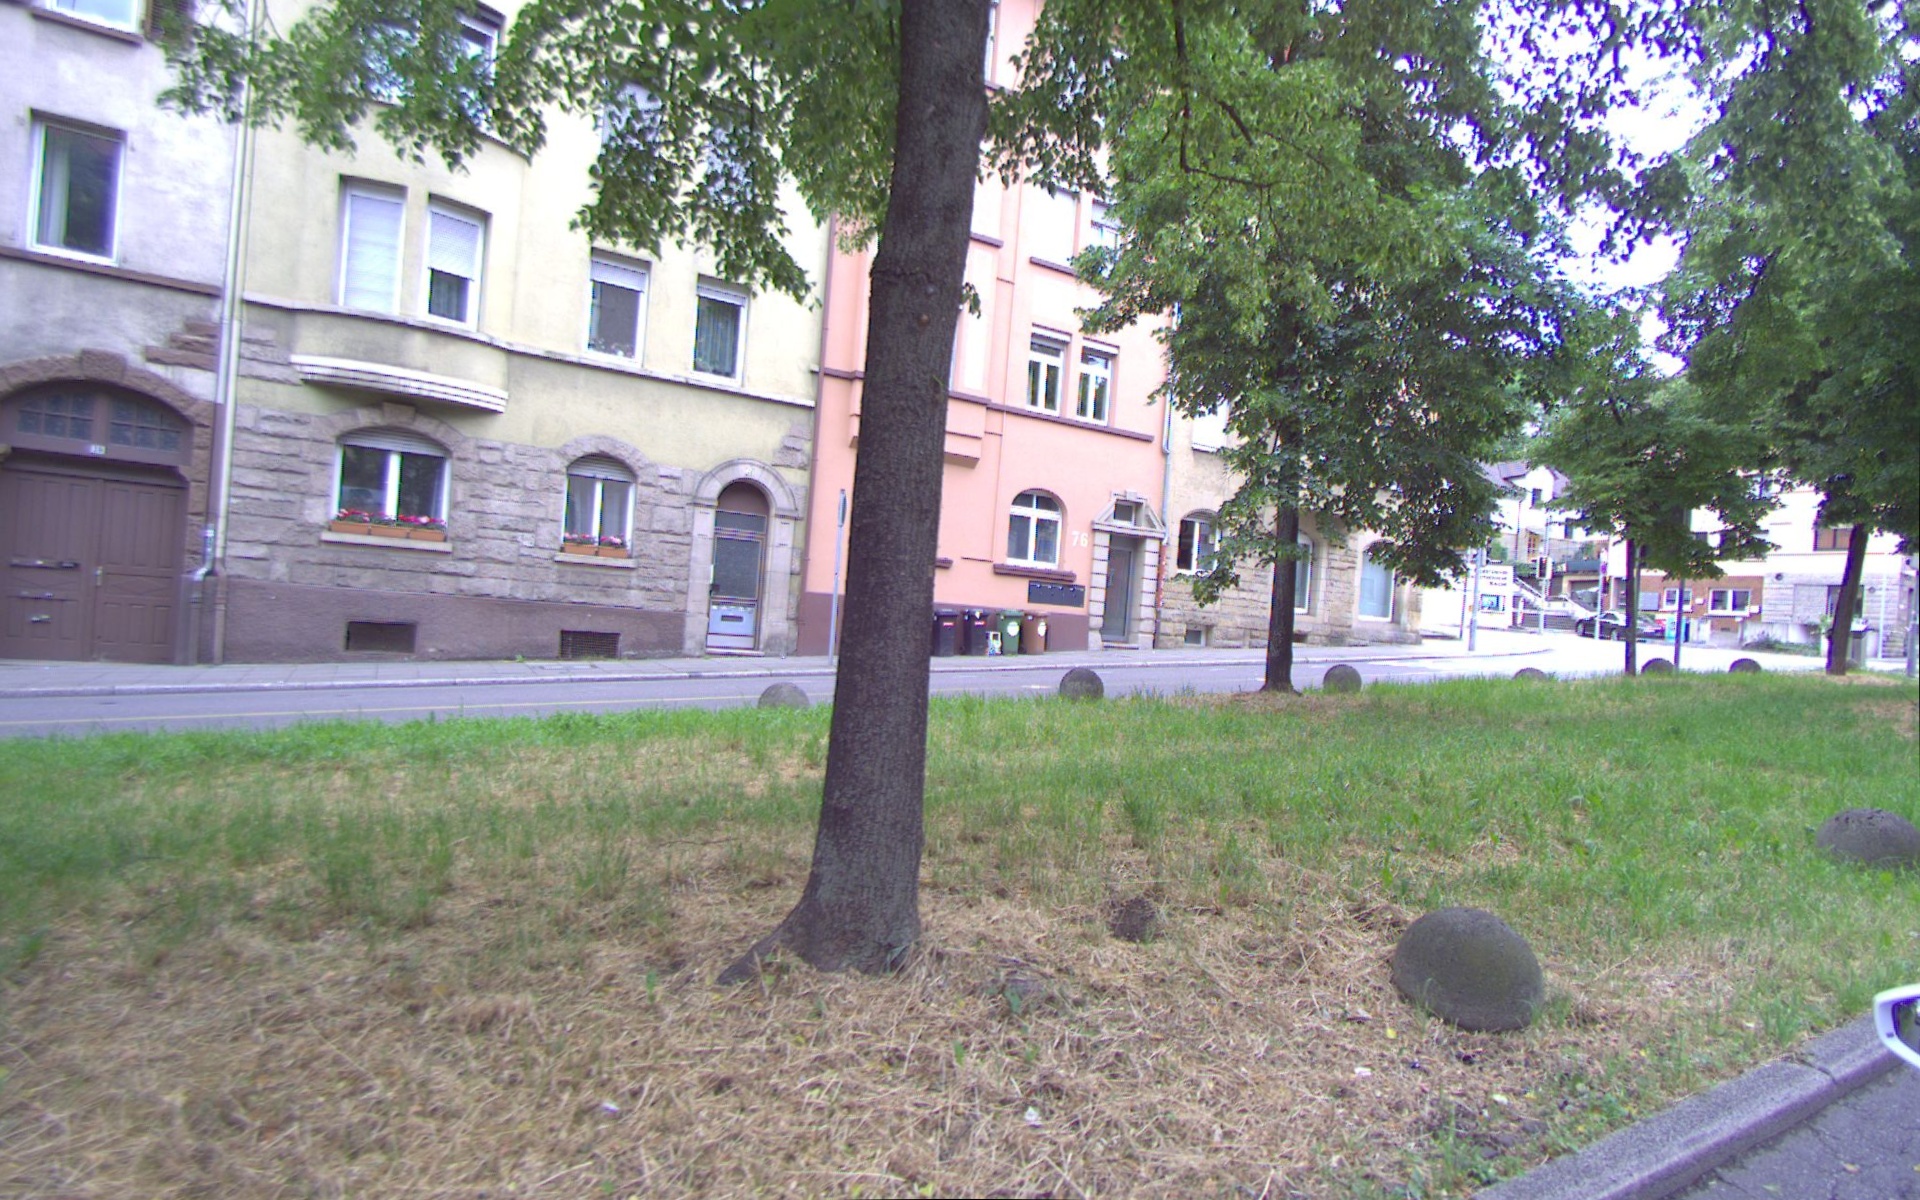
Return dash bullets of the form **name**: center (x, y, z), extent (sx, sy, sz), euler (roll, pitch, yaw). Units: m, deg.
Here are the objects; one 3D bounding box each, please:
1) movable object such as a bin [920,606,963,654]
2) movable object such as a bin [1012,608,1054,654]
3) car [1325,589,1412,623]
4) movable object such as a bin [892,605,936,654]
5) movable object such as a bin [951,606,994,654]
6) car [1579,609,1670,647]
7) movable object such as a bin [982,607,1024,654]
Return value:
- **movable object such as a bin**: center (-0.364, 0.589, 19.943), extent (0.595, 0.916, 0.605), euler (1, 2, -34)
- **movable object such as a bin**: center (1.523, 0.638, 21.041), extent (0.595, 0.916, 0.605), euler (1, 2, -34)
- **car**: center (20.842, 0.279, 51.392), extent (3.920, 1.530, 1.800), euler (2, 1, 17)
- **movable object such as a bin**: center (-0.903, 0.572, 19.620), extent (0.595, 0.916, 0.605), euler (1, 2, -34)
- **movable object such as a bin**: center (0.252, 0.605, 20.304), extent (0.595, 0.916, 0.605), euler (1, 2, -34)
- **car**: center (31.951, 1.316, 48.438), extent (1.845, 1.687, 4.002), euler (3, 0, 3)
- **movable object such as a bin**: center (0.892, 0.624, 20.705), extent (0.595, 0.916, 0.605), euler (1, 2, -34)
